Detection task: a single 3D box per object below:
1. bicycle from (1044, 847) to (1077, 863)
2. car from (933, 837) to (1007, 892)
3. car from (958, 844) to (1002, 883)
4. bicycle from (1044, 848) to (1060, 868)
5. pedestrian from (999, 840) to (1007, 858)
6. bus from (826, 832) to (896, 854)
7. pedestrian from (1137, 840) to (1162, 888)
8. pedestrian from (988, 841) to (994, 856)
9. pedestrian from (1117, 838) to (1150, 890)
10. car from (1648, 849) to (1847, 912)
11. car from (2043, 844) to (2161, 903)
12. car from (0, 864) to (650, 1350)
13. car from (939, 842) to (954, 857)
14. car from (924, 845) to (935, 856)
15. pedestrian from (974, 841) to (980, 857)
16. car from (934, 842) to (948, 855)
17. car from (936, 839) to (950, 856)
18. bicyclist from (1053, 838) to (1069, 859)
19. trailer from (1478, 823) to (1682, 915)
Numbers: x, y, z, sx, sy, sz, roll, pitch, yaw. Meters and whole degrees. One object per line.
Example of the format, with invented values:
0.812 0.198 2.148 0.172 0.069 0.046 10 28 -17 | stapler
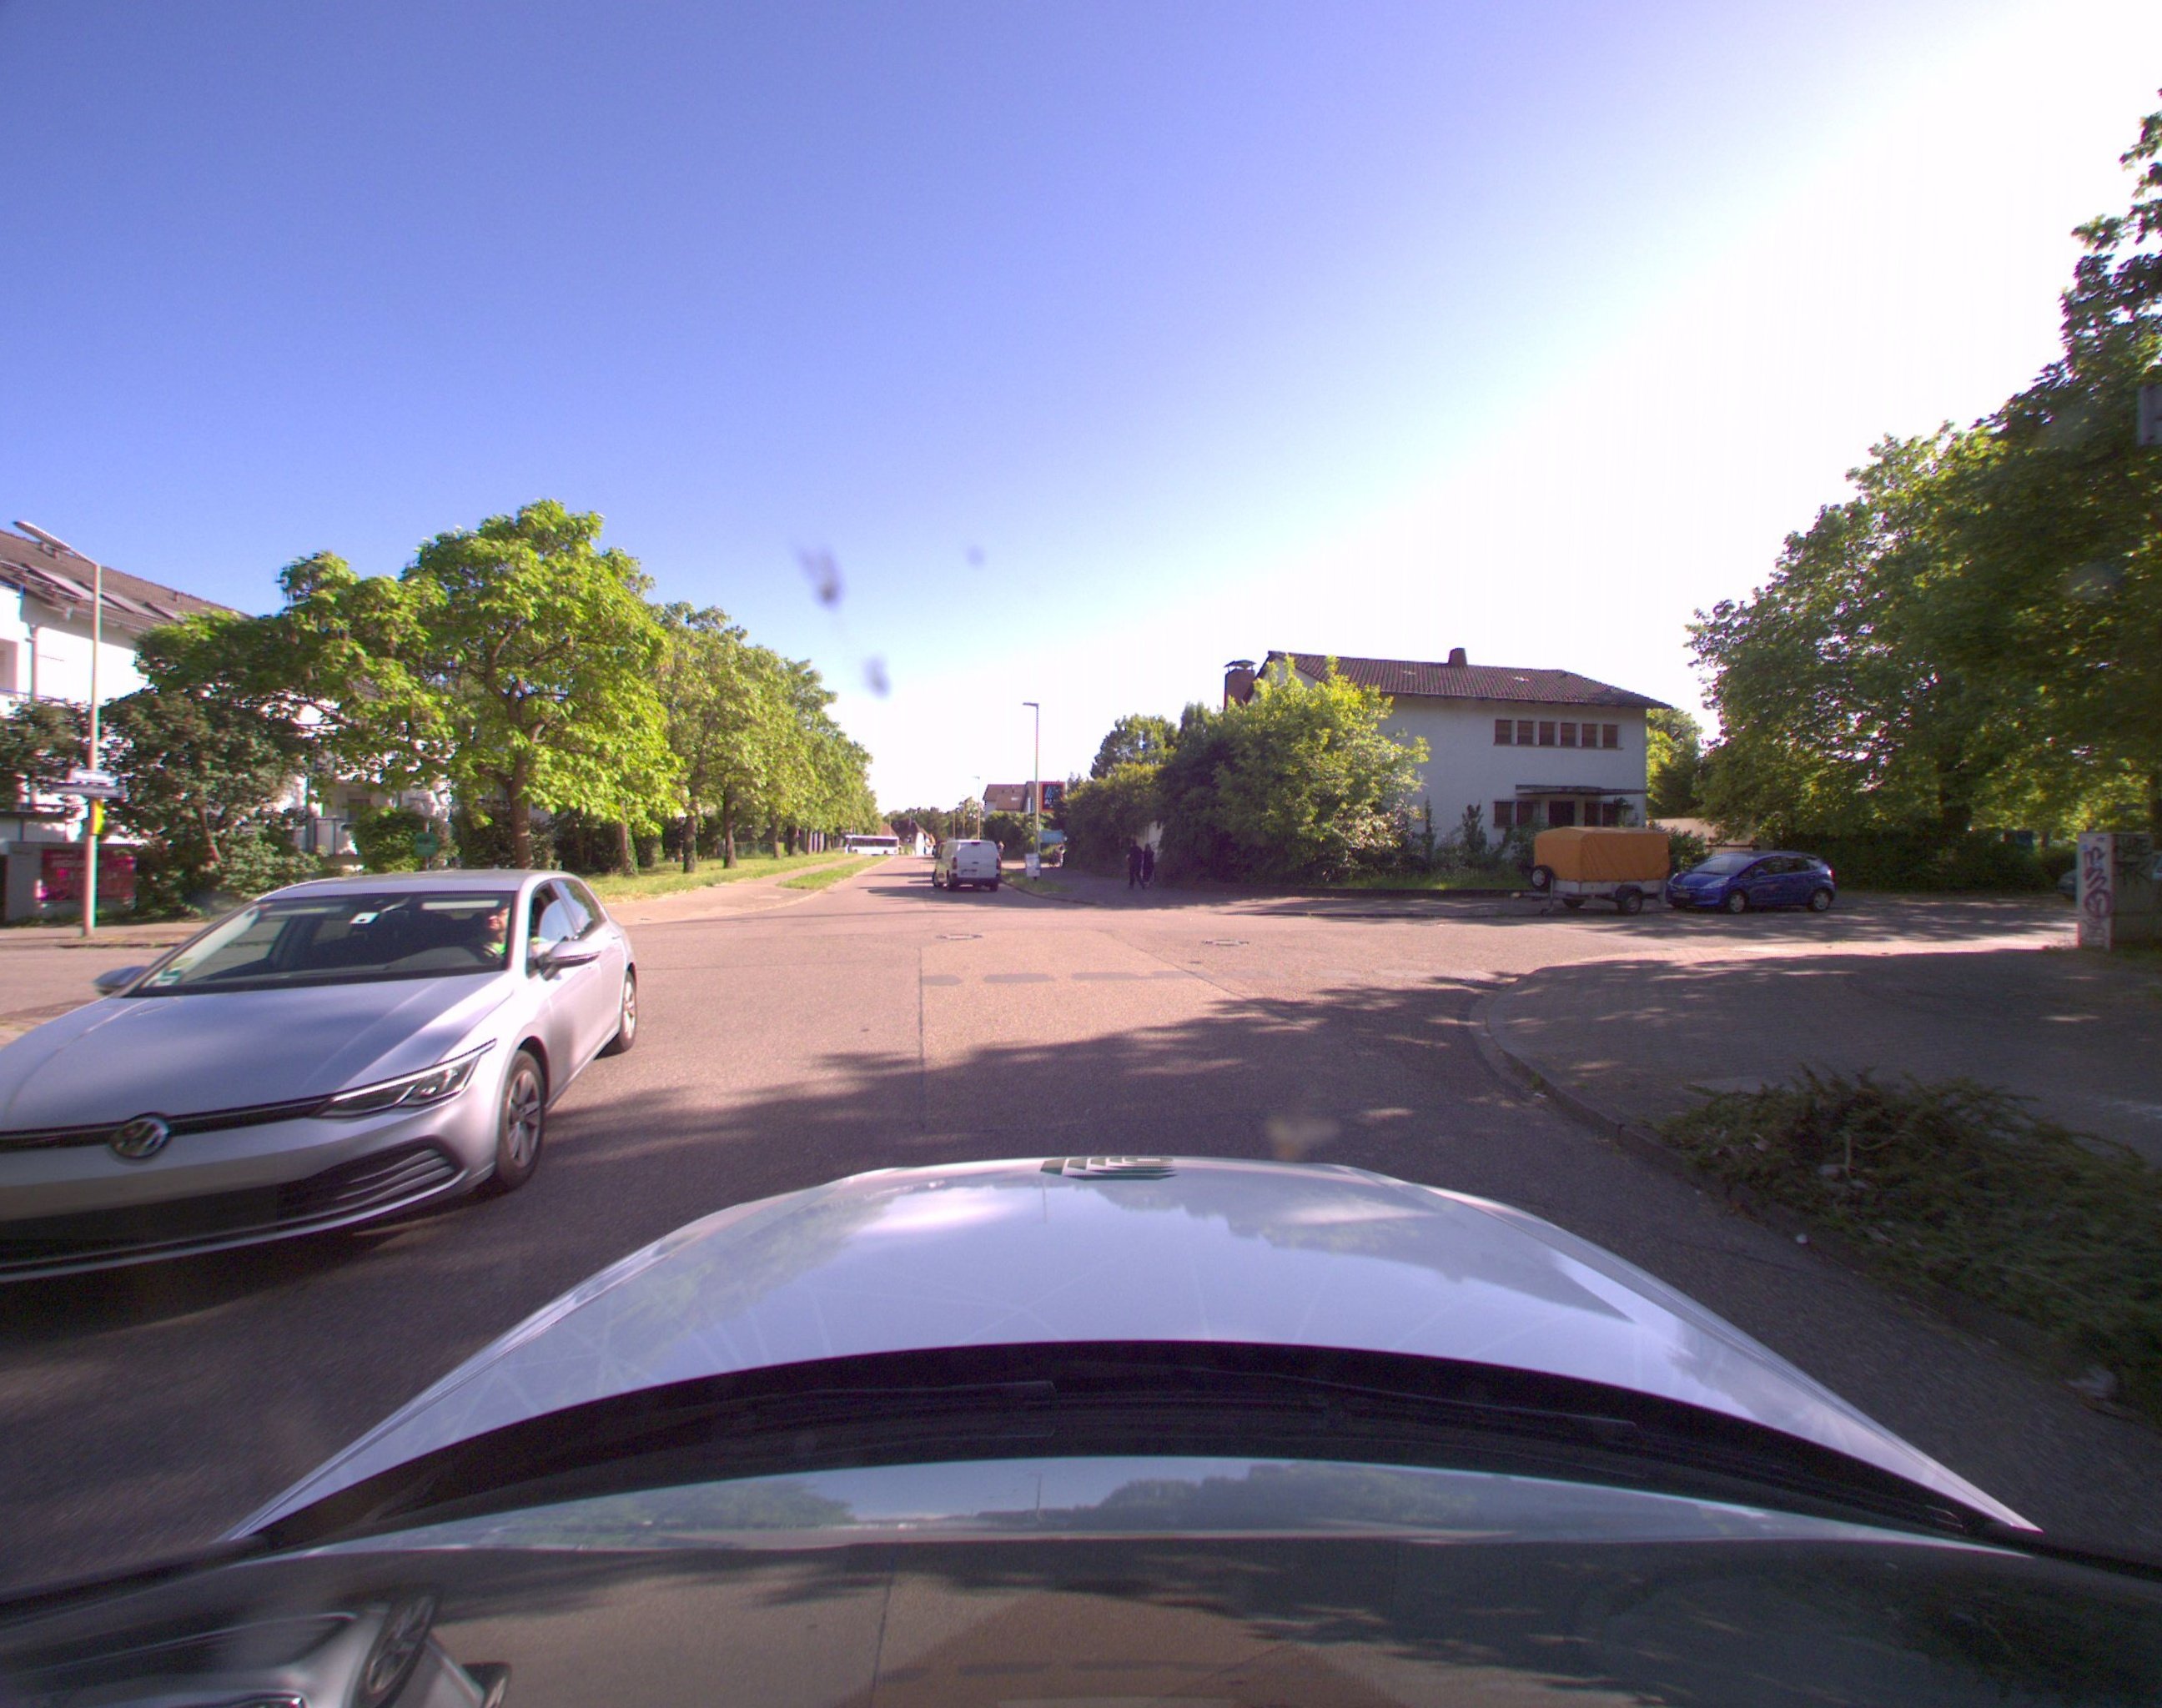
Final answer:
-1.522 0.082 60.561 2.280 1.138 0.784 -1 0 -20 | bicycle
-4.193 0.334 30.235 1.999 1.881 4.262 0 0 -19 | car
-4.669 0.368 37.189 1.725 1.656 4.336 0 1 -11 | car
-1.784 0.236 50.054 0.717 1.220 1.898 -2 0 5 | bicycle
-7.651 -0.474 79.761 0.797 1.781 0.808 0 1 -3 | pedestrian
-30.570 -1.501 113.772 3.009 2.824 10.655 0 1 27 | bus
2.352 0.329 28.091 0.574 1.609 0.788 -2 -1 -15 | pedestrian
-9.814 -0.583 88.874 0.566 1.637 0.545 0 1 -6 | pedestrian
1.787 0.327 27.854 0.805 1.717 0.979 -2 -1 -15 | pedestrian
17.014 0.646 20.878 3.919 1.512 1.883 0 -1 -11 | car
30.929 0.529 23.849 3.987 1.651 1.868 0 1 -11 | car
-3.707 0.827 4.633 1.667 1.466 4.160 -2 0 -21 | car
-16.340 -0.543 98.644 1.724 1.837 3.986 0 0 -10 | car
-27.894 -0.633 149.882 1.806 2.068 3.983 0 0 -12 | car
-10.780 -0.524 84.280 0.566 1.637 0.545 0 1 -6 | pedestrian
-21.415 -0.800 124.509 1.805 1.785 3.983 2 -1 -12 | car
-22.398 -1.031 131.812 1.868 2.562 4.747 2 -1 -12 | car
-1.491 -0.410 60.526 0.966 1.584 0.903 0 -2 -18 | bicyclist
12.273 0.304 20.146 4.064 2.119 1.971 -1 1 -12 | trailer
